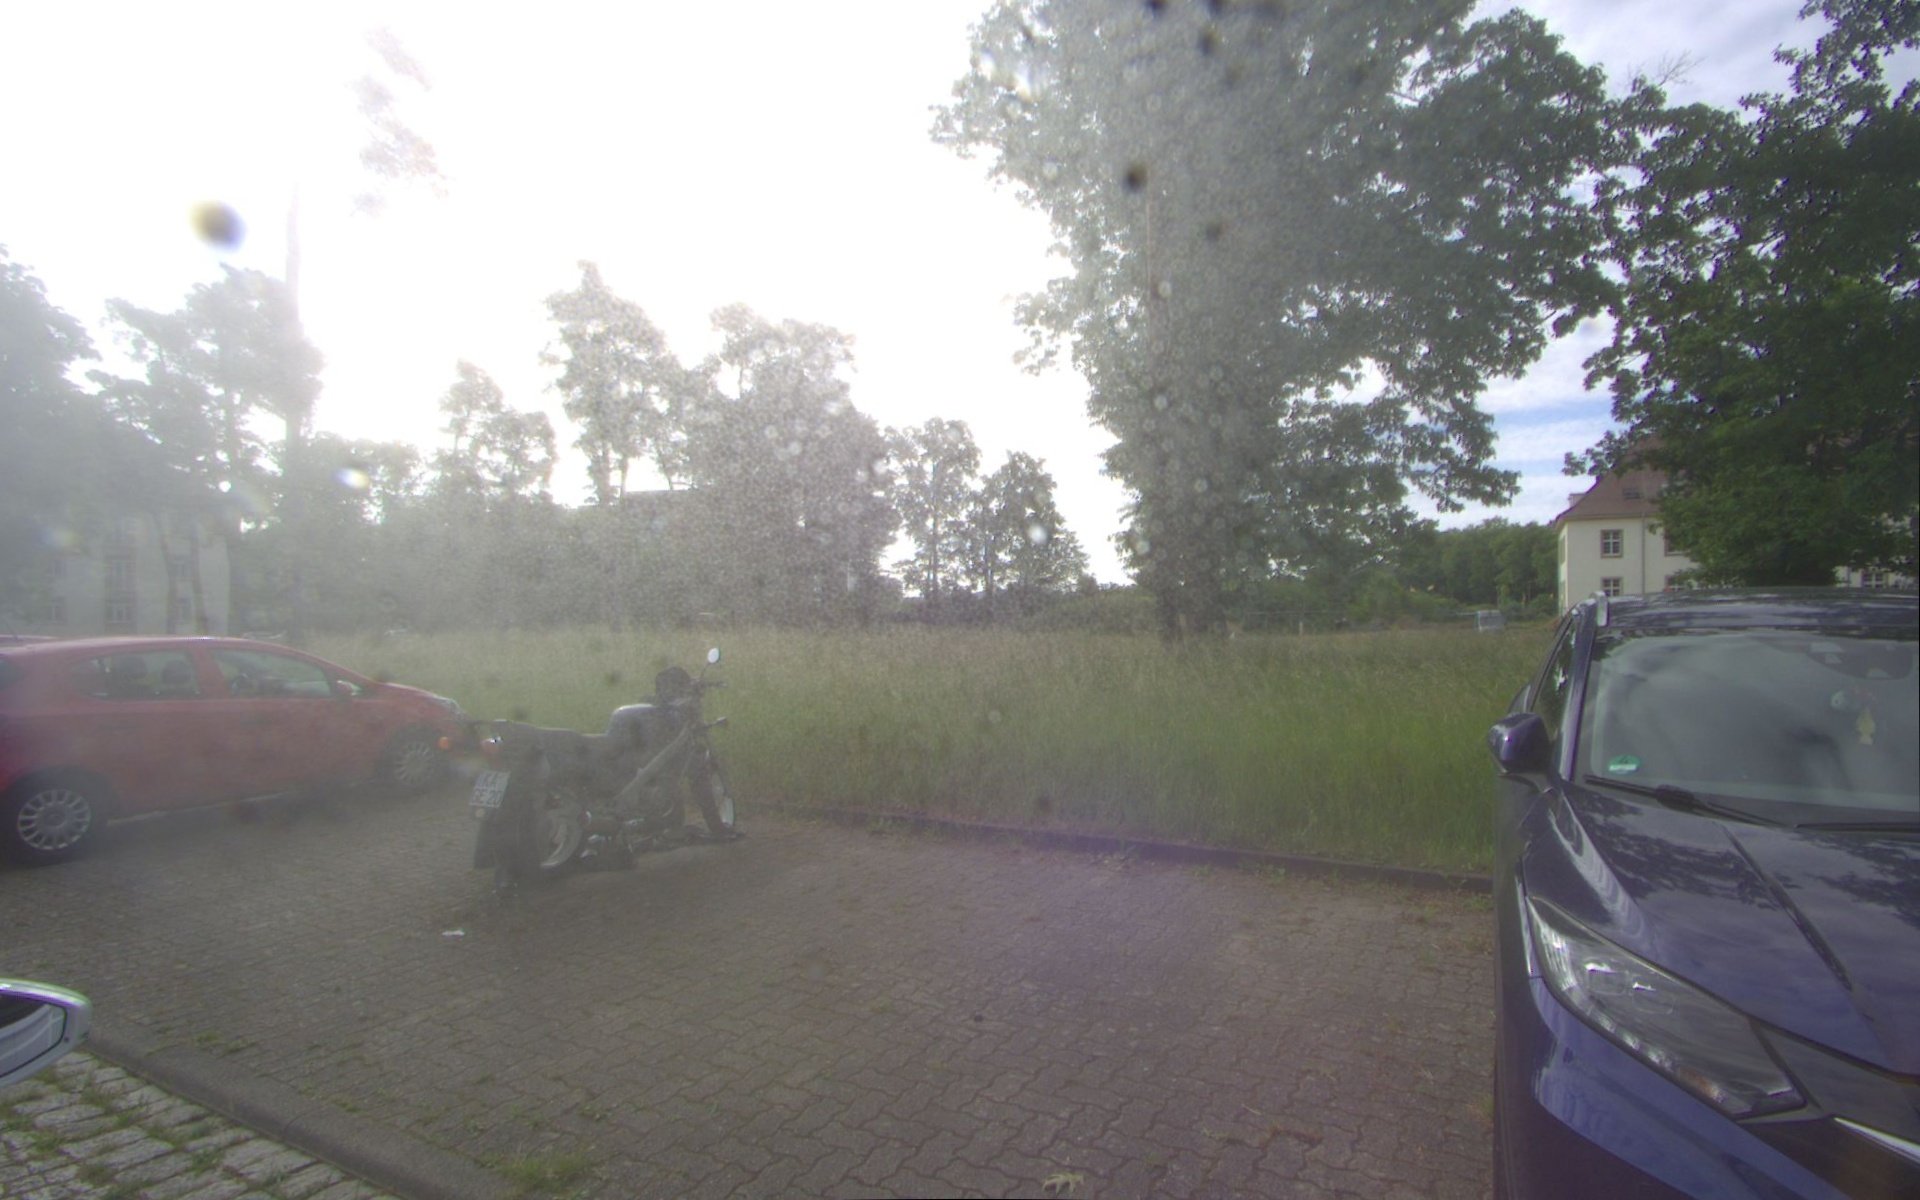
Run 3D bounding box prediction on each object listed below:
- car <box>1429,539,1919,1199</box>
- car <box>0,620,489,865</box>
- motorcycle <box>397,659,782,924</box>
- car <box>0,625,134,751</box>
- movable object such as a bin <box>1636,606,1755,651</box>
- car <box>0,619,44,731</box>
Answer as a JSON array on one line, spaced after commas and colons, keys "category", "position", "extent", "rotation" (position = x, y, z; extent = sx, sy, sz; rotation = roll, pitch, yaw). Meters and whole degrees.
[{"category": "car", "position": [2.567, 0.737, 3.053], "extent": [1.766, 1.591, 4.158], "rotation": [-2, -2, 29]}, {"category": "car", "position": [-6.118, 0.955, 8.169], "extent": [1.752, 1.479, 3.821], "rotation": [-1, 0, 28]}, {"category": "motorcycle", "position": [-2.128, 1.027, 6.204], "extent": [0.783, 1.201, 2.326], "rotation": [-1, 0, 26]}, {"category": "car", "position": [-12.564, 1.098, 11.957], "extent": [1.725, 1.479, 3.787], "rotation": [-1, 0, 29]}, {"category": "movable object such as a bin", "position": [46.237, 1.812, 63.078], "extent": [5.903, 2.689, 2.161], "rotation": [-2, -2, 38]}, {"category": "car", "position": [-14.931, 1.083, 13.071], "extent": [1.723, 1.573, 4.026], "rotation": [-1, 0, 27]}]
